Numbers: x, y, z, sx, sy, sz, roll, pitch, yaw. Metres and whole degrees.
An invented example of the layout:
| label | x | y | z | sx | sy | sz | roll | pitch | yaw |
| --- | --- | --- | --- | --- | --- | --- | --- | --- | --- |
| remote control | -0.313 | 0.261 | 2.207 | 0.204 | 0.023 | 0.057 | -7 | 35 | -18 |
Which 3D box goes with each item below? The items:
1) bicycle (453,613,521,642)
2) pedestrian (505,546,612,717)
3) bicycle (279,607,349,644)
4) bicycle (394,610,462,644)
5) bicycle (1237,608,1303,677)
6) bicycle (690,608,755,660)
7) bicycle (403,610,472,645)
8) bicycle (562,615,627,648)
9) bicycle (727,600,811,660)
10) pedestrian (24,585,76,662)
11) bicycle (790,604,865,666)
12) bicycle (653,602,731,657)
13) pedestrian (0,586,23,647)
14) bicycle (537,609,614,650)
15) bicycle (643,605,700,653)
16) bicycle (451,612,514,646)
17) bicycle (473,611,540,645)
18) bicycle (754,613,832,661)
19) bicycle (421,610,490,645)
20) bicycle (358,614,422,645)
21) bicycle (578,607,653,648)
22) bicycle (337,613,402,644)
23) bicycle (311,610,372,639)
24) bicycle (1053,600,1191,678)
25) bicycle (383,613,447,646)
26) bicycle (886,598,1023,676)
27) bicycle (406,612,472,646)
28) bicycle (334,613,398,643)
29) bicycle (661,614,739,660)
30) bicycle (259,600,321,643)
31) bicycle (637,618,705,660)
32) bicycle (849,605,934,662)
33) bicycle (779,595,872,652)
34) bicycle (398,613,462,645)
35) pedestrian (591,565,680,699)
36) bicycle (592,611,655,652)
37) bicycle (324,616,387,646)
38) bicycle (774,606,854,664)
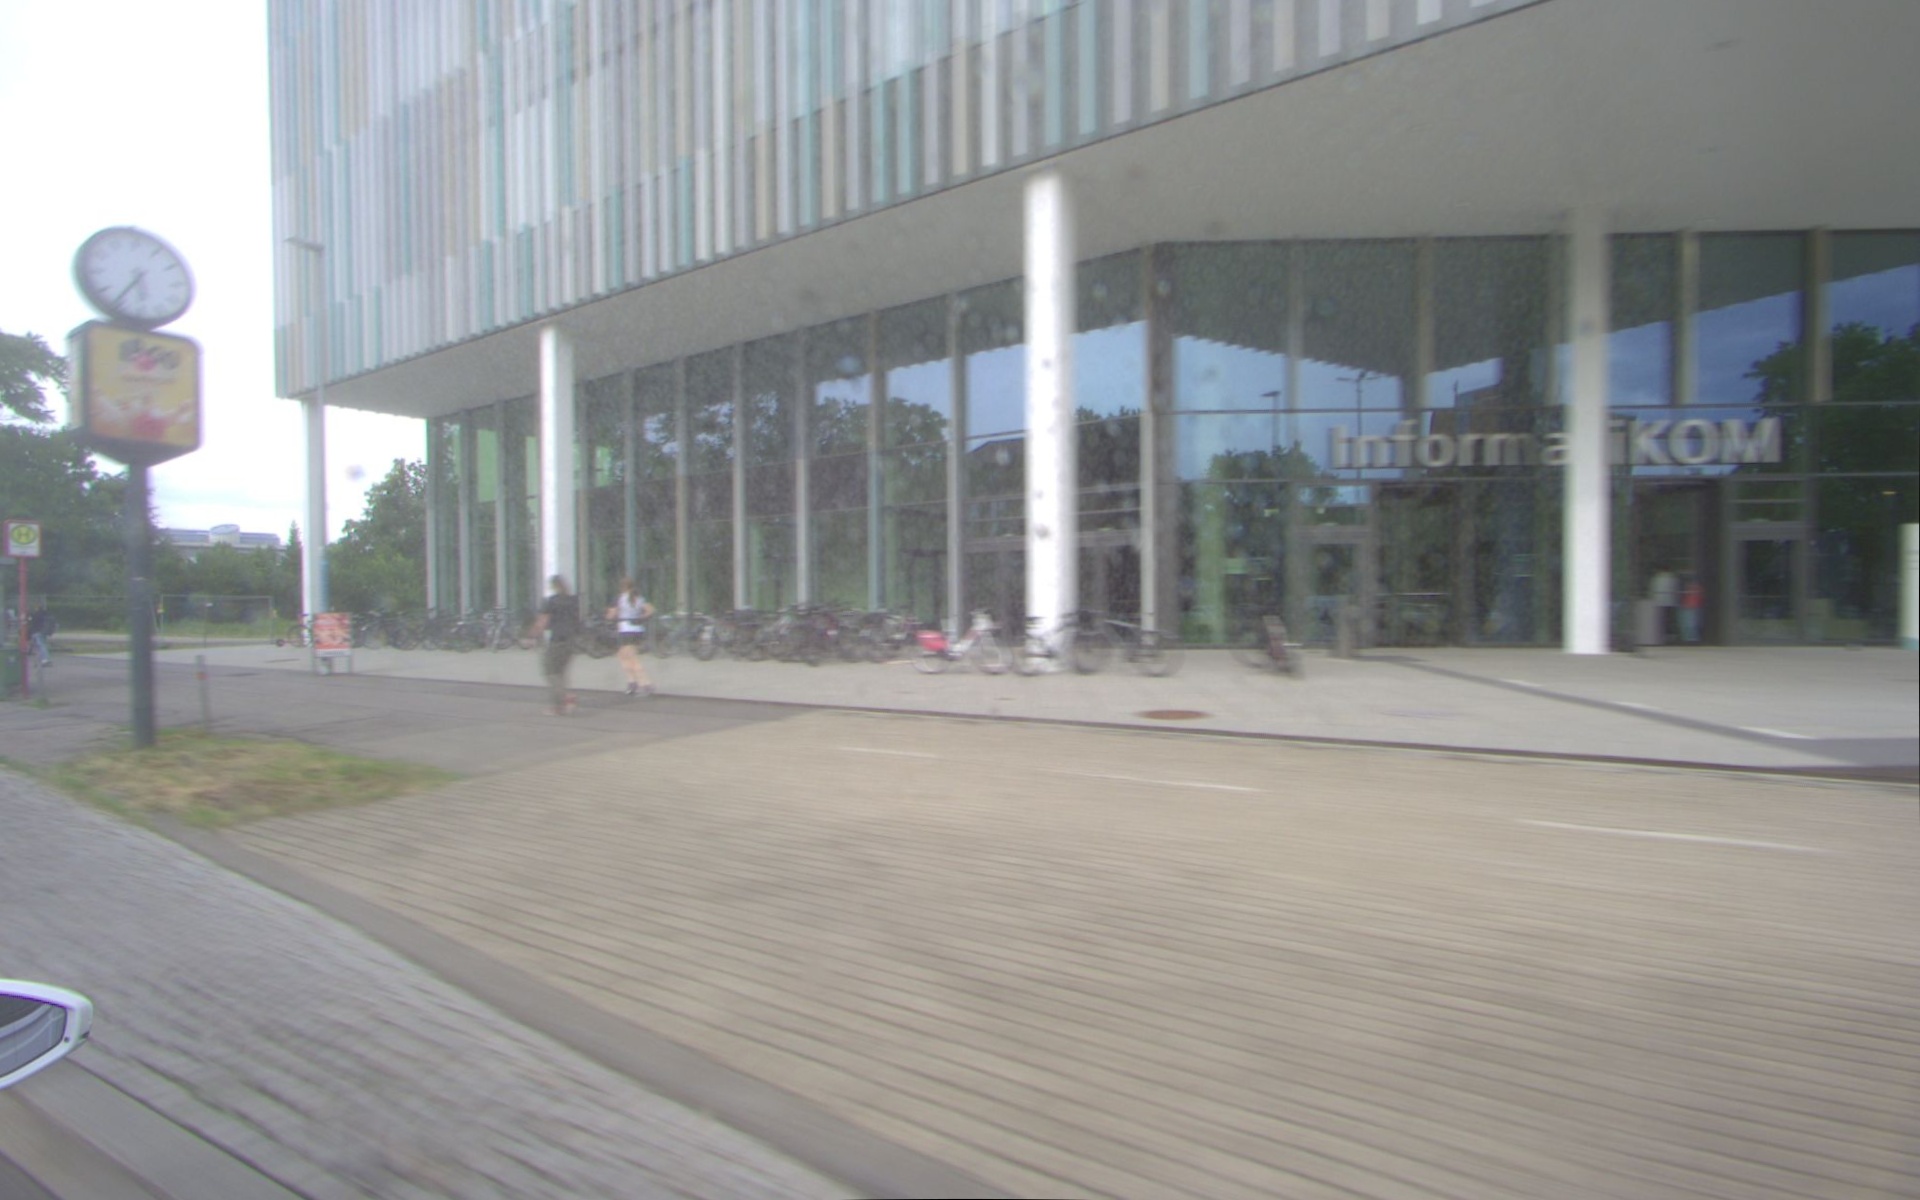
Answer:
| label | x | y | z | sx | sy | sz | roll | pitch | yaw |
| --- | --- | --- | --- | --- | --- | --- | --- | --- | --- |
| bicycle | -12.556 | 0.720 | 26.618 | 0.549 | 0.726 | 1.554 | 0 | 1 | 36 |
| pedestrian | -5.038 | 0.367 | 12.568 | 0.883 | 2.041 | 0.839 | 0 | 3 | 38 |
| bicycle | -21.118 | 0.813 | 32.788 | 0.617 | 1.097 | 1.788 | 0 | 3 | 34 |
| bicycle | -14.990 | 0.756 | 28.223 | 0.549 | 0.886 | 1.600 | 0 | 1 | 36 |
| bicycle | 4.566 | 0.604 | 14.846 | 0.432 | 0.942 | 1.488 | 1 | 1 | -3 |
| bicycle | -4.986 | 0.706 | 21.086 | 0.543 | 1.021 | 1.236 | 0 | 2 | 40 |
| bicycle | -14.530 | 0.752 | 27.876 | 0.549 | 0.886 | 1.600 | 0 | 1 | 36 |
| bicycle | -9.034 | 0.770 | 24.767 | 0.549 | 0.756 | 1.429 | 0 | 1 | 36 |
| bicycle | -3.907 | 0.600 | 20.582 | 0.566 | 1.106 | 1.633 | 0 | 3 | 44 |
| pedestrian | -24.780 | 0.629 | 27.265 | 0.882 | 2.040 | 0.840 | 0 | 1 | 35 |
| bicycle | -2.483 | 0.644 | 18.903 | 0.552 | 1.058 | 1.395 | 0 | 3 | 36 |
| bicycle | -5.960 | 0.637 | 22.321 | 0.565 | 1.117 | 1.636 | 0 | 2 | 39 |
| pedestrian | -32.542 | 0.573 | 33.902 | 1.024 | 2.040 | 0.923 | 0 | 1 | 32 |
| bicycle | -8.868 | 0.669 | 23.149 | 0.549 | 0.886 | 1.600 | 0 | 1 | 36 |
| bicycle | -6.658 | 0.657 | 23.132 | 0.429 | 1.064 | 1.191 | 0 | 2 | 42 |
| bicycle | -12.969 | 0.782 | 27.218 | 0.549 | 0.850 | 1.449 | 0 | 1 | 36 |
| bicycle | -11.931 | 0.726 | 26.385 | 0.549 | 0.845 | 1.527 | 0 | 1 | 36 |
| bicycle | -3.283 | 0.717 | 19.784 | 0.549 | 0.886 | 1.601 | 0 | 0 | 36 |
| bicycle | -13.758 | 0.732 | 27.342 | 0.549 | 0.886 | 1.600 | 0 | 1 | 36 |
| bicycle | -17.305 | 0.887 | 30.440 | 0.549 | 0.886 | 1.600 | 0 | 1 | 36 |
| bicycle | -8.433 | 0.659 | 24.565 | 0.510 | 0.959 | 1.682 | 0 | 0 | 42 |
| bicycle | -18.207 | 0.866 | 30.902 | 0.549 | 0.886 | 1.600 | 0 | 1 | 36 |
| bicycle | -20.014 | 0.796 | 32.449 | 0.548 | 0.886 | 1.603 | 0 | 0 | 32 |
| bicycle | 2.412 | 0.566 | 14.923 | 1.931 | 1.095 | 0.607 | -1 | 2 | 25 |
| bicycle | -16.255 | 0.867 | 29.891 | 0.549 | 0.886 | 1.600 | 0 | 1 | 36 |
| bicycle | -0.106 | 0.581 | 16.160 | 2.169 | 1.156 | 0.634 | -1 | 3 | 32 |
| bicycle | -15.051 | 0.831 | 28.985 | 0.549 | 0.886 | 1.600 | 0 | 1 | 36 |
| bicycle | -18.588 | 0.865 | 31.364 | 0.549 | 0.886 | 1.600 | 0 | 1 | 36 |
| bicycle | -5.549 | 0.771 | 21.434 | 0.549 | 0.886 | 1.600 | 0 | 2 | 36 |
| bicycle | -22.588 | 0.721 | 33.766 | 1.634 | 1.351 | 0.459 | -4 | 3 | -41 |
| bicycle | -6.616 | 0.880 | 22.976 | 0.361 | 0.908 | 1.601 | 0 | 1 | 36 |
| bicycle | -1.286 | 0.622 | 19.043 | 1.595 | 0.949 | 0.563 | -4 | 4 | -44 |
| bicycle | -2.959 | 0.506 | 22.044 | 1.951 | 1.160 | 0.647 | -2 | 2 | -13 |
| bicycle | -15.506 | 0.842 | 29.313 | 0.509 | 0.896 | 1.598 | 0 | 0 | 35 |
| pedestrian | -4.673 | 0.447 | 14.448 | 0.882 | 1.860 | 0.840 | 0 | 1 | 34 |
| bicycle | -7.812 | 0.725 | 23.276 | 0.549 | 0.886 | 1.278 | 0 | 1 | 36 |
| bicycle | -19.300 | 0.985 | 31.992 | 0.549 | 0.886 | 1.600 | 0 | 1 | 36 |
| bicycle | -2.812 | 0.657 | 19.429 | 0.549 | 0.996 | 1.600 | 0 | 3 | 36 |
